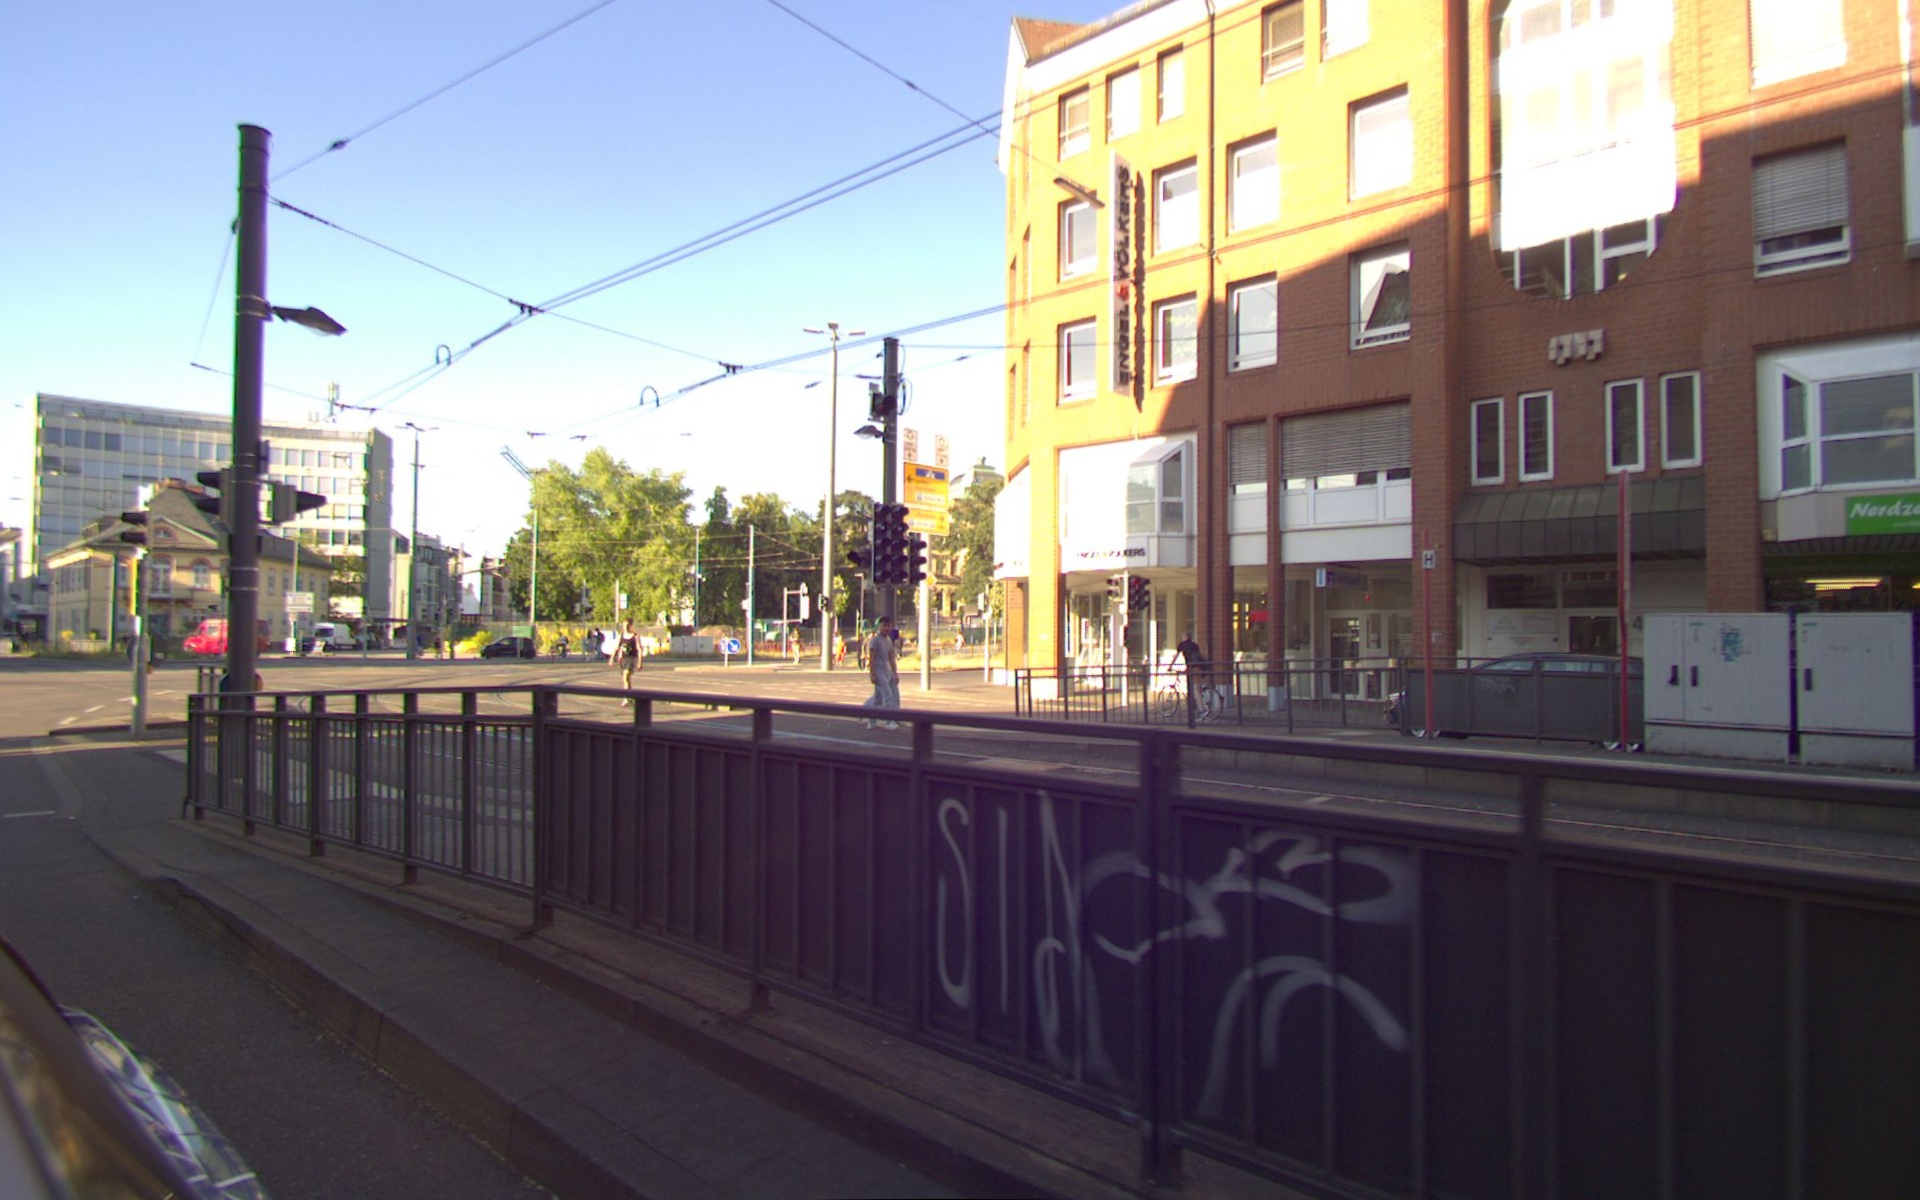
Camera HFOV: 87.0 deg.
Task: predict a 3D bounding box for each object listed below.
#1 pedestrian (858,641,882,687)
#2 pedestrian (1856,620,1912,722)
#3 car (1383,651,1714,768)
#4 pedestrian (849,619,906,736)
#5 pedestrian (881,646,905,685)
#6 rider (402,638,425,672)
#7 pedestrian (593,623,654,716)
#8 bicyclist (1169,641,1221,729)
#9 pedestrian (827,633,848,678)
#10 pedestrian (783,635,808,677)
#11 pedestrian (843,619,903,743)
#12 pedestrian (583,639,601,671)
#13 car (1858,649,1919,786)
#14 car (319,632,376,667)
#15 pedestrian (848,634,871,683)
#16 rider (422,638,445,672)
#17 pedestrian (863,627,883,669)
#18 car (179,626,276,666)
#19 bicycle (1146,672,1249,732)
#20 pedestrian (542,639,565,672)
[{"bbox_3d":[-3.642,2.575,41.043,0.847,1.780,0.813,-1,0,-12],"label":"pedestrian"},{"bbox_3d":[15.618,1.177,17.123,0.637,1.674,0.605,-1,-2,40],"label":"pedestrian"},{"bbox_3d":[8.925,1.571,15.530,4.117,1.541,1.882,-2,-4,40],"label":"car"},{"bbox_3d":[-1.316,1.220,16.246,0.800,1.780,0.860,-1,0,1],"label":"pedestrian"},{"bbox_3d":[-2.781,2.685,41.730,0.847,1.522,0.813,-1,0,-12],"label":"pedestrian"},{"bbox_3d":[-33.947,3.409,62.877,0.997,2.029,1.023,-1,0,-15],"label":"rider"},{"bbox_3d":[-6.813,1.404,20.508,0.852,1.817,0.808,-1,0,13],"label":"pedestrian"},{"bbox_3d":[4.971,1.769,21.422,0.810,1.780,0.729,-2,0,39],"label":"bicyclist"},{"bbox_3d":[-5.734,2.597,47.498,0.849,2.029,0.811,-1,0,1],"label":"pedestrian"},{"bbox_3d":[-8.184,2.776,50.285,0.856,2.029,0.804,-2,0,27],"label":"pedestrian"},{"bbox_3d":[-1.306,1.199,15.336,0.800,1.780,0.861,-1,0,0],"label":"pedestrian"},{"bbox_3d":[-24.450,3.629,67.240,0.997,2.029,0.992,-1,0,-15],"label":"pedestrian"},{"bbox_3d":[13.200,1.370,11.631,4.194,1.612,1.873,-2,-4,40],"label":"car"},{"bbox_3d":[-57.394,4.577,94.973,2.501,3.071,6.389,2,-2,-12],"label":"car"},{"bbox_3d":[-4.323,2.481,43.388,0.847,2.029,0.813,-1,0,-12],"label":"pedestrian"},{"bbox_3d":[-32.734,3.390,62.937,0.997,2.029,0.992,-1,0,-15],"label":"rider"},{"bbox_3d":[-4.382,2.411,51.088,0.849,2.029,0.811,-1,0,1],"label":"pedestrian"},{"bbox_3d":[-48.819,3.055,67.494,5.374,2.474,2.530,-2,-1,17],"label":"car"},{"bbox_3d":[5.007,2.140,21.406,2.052,1.129,0.567,-1,0,39],"label":"bicycle"},{"bbox_3d":[-26.293,3.600,65.514,1.058,2.029,0.990,-1,0,-45],"label":"pedestrian"}]
